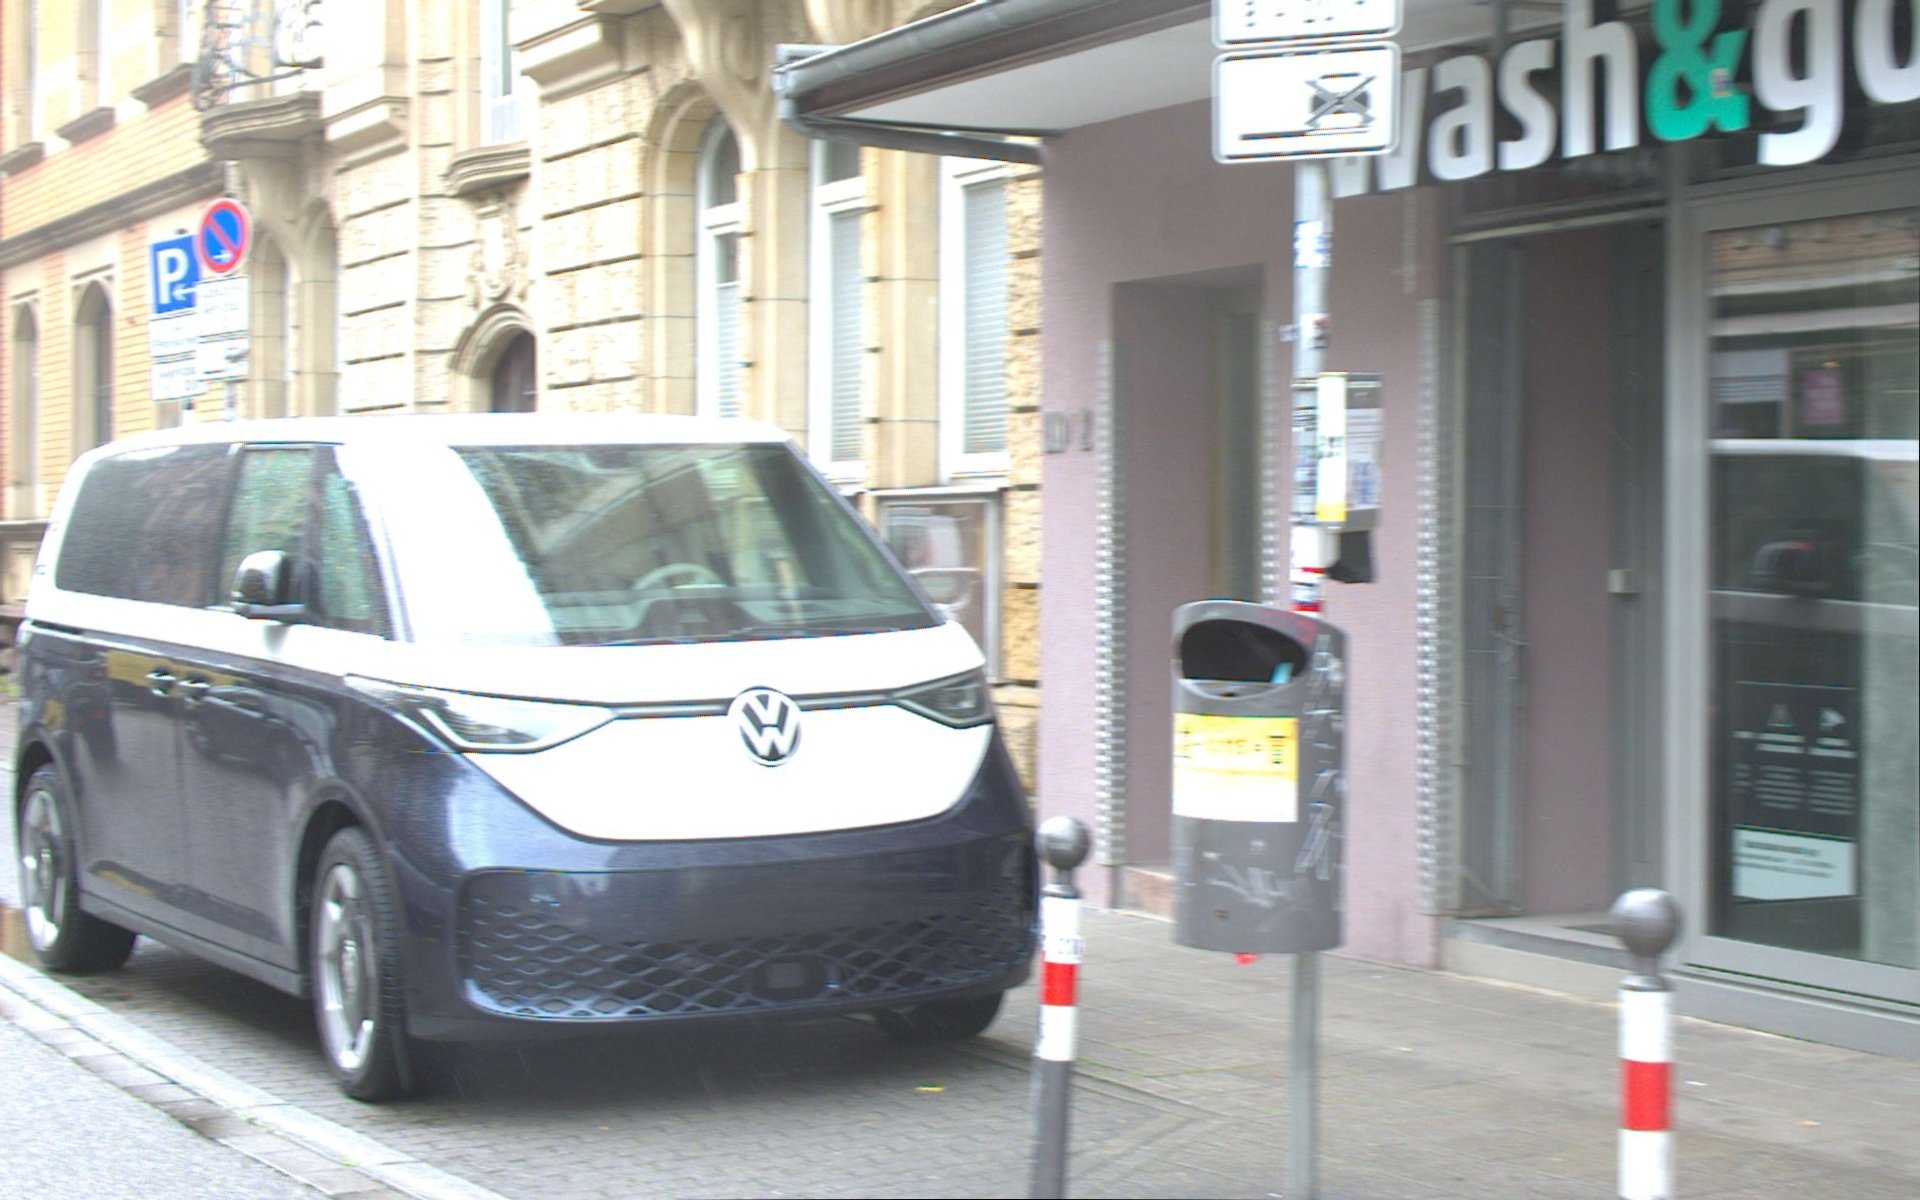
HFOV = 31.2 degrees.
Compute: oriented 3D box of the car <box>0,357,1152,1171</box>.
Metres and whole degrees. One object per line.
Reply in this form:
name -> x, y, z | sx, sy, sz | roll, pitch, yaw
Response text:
car -> -1.655, 0.326, 10.940 | 1.993, 1.932, 5.231 | -2, 2, -29
